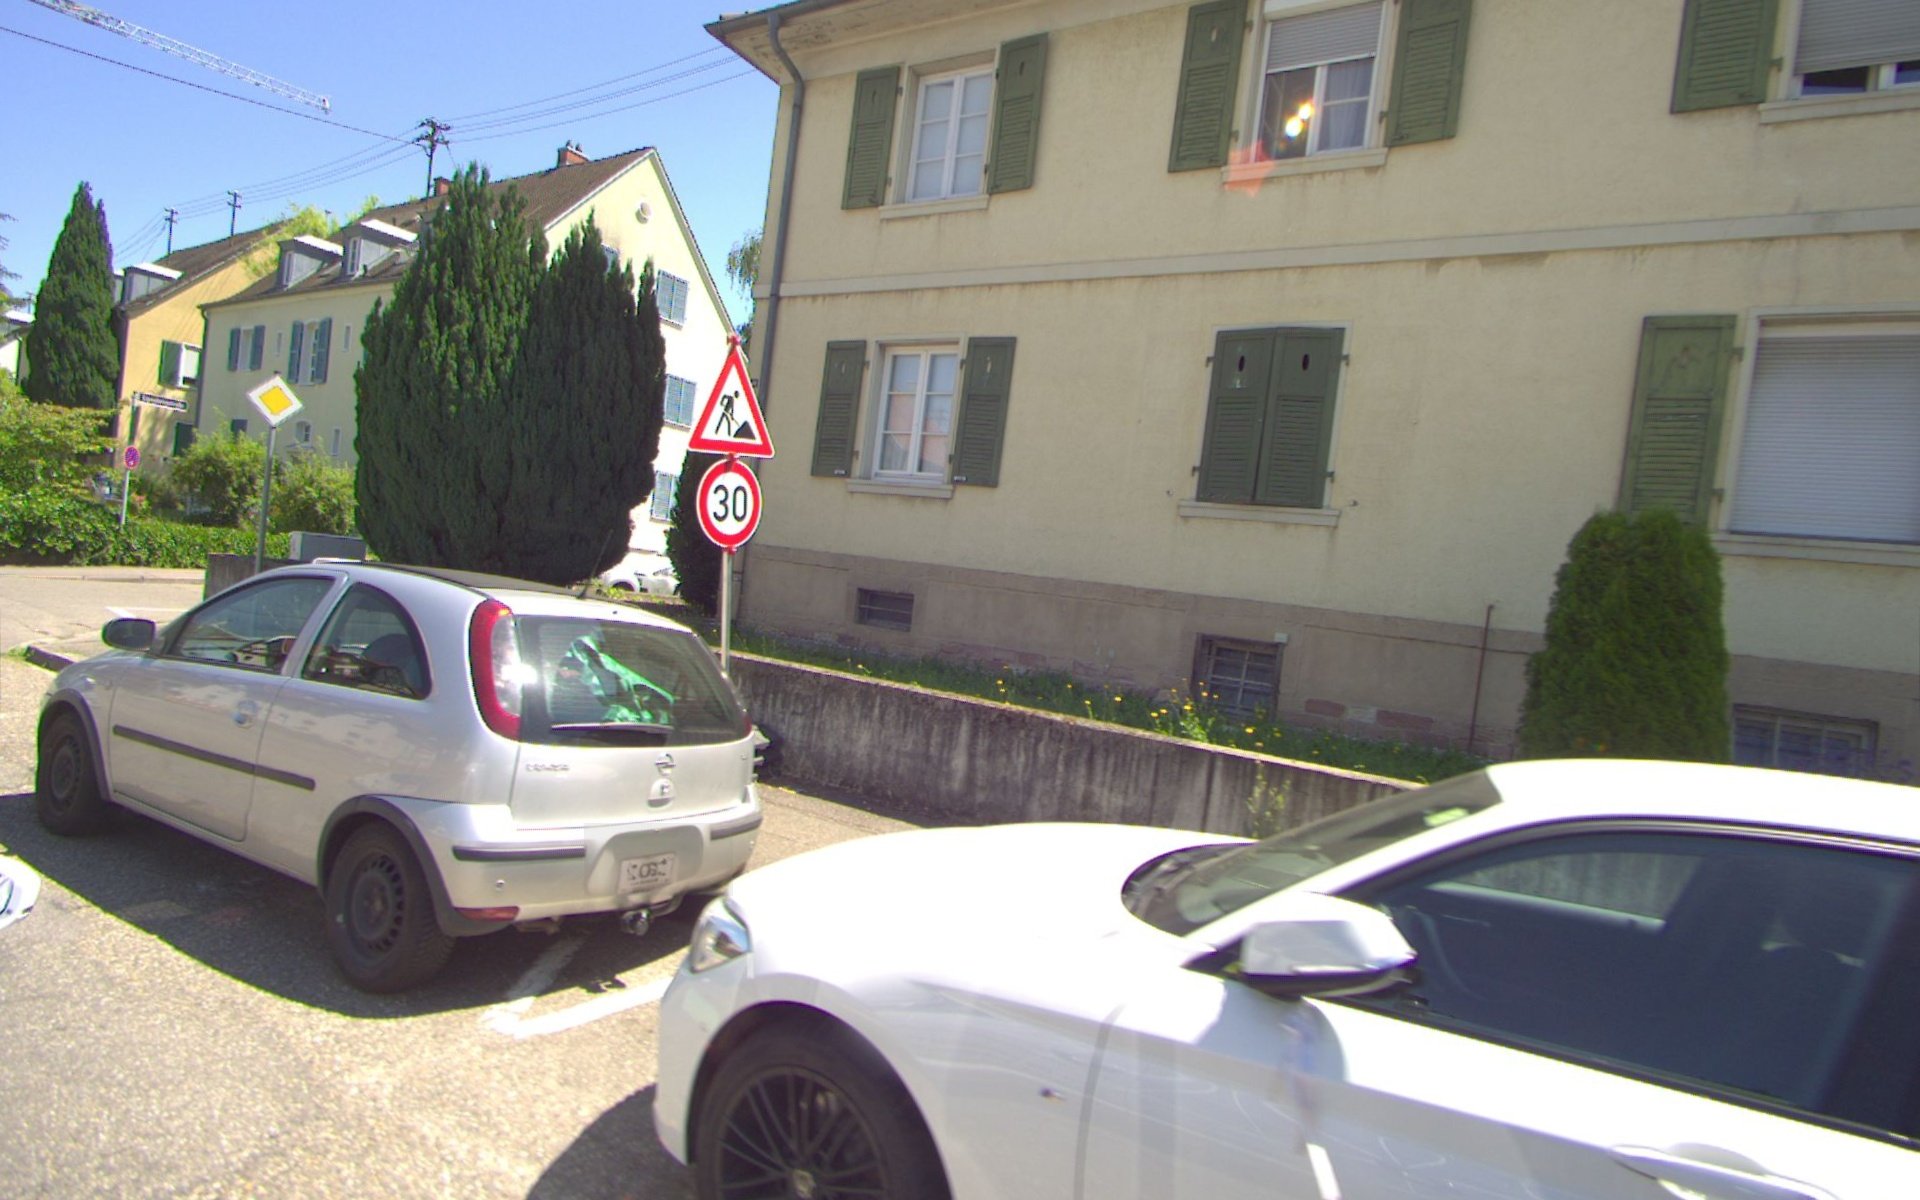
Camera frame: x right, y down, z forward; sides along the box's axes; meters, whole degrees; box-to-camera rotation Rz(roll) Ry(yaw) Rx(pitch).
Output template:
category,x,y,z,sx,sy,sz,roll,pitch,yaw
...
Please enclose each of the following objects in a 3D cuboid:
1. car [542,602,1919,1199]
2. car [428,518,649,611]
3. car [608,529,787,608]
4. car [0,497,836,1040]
category,x,y,z,sx,sy,sz,roll,pitch,yaw
car,1.177,0.990,2.176,3.932,1.452,1.670,6,-2,30
car,-7.703,-0.636,18.584,1.588,1.474,3.398,8,5,37
car,-5.611,-0.670,21.776,1.587,1.474,3.495,7,5,35
car,-2.755,0.509,4.774,3.932,1.482,1.671,6,-3,29
